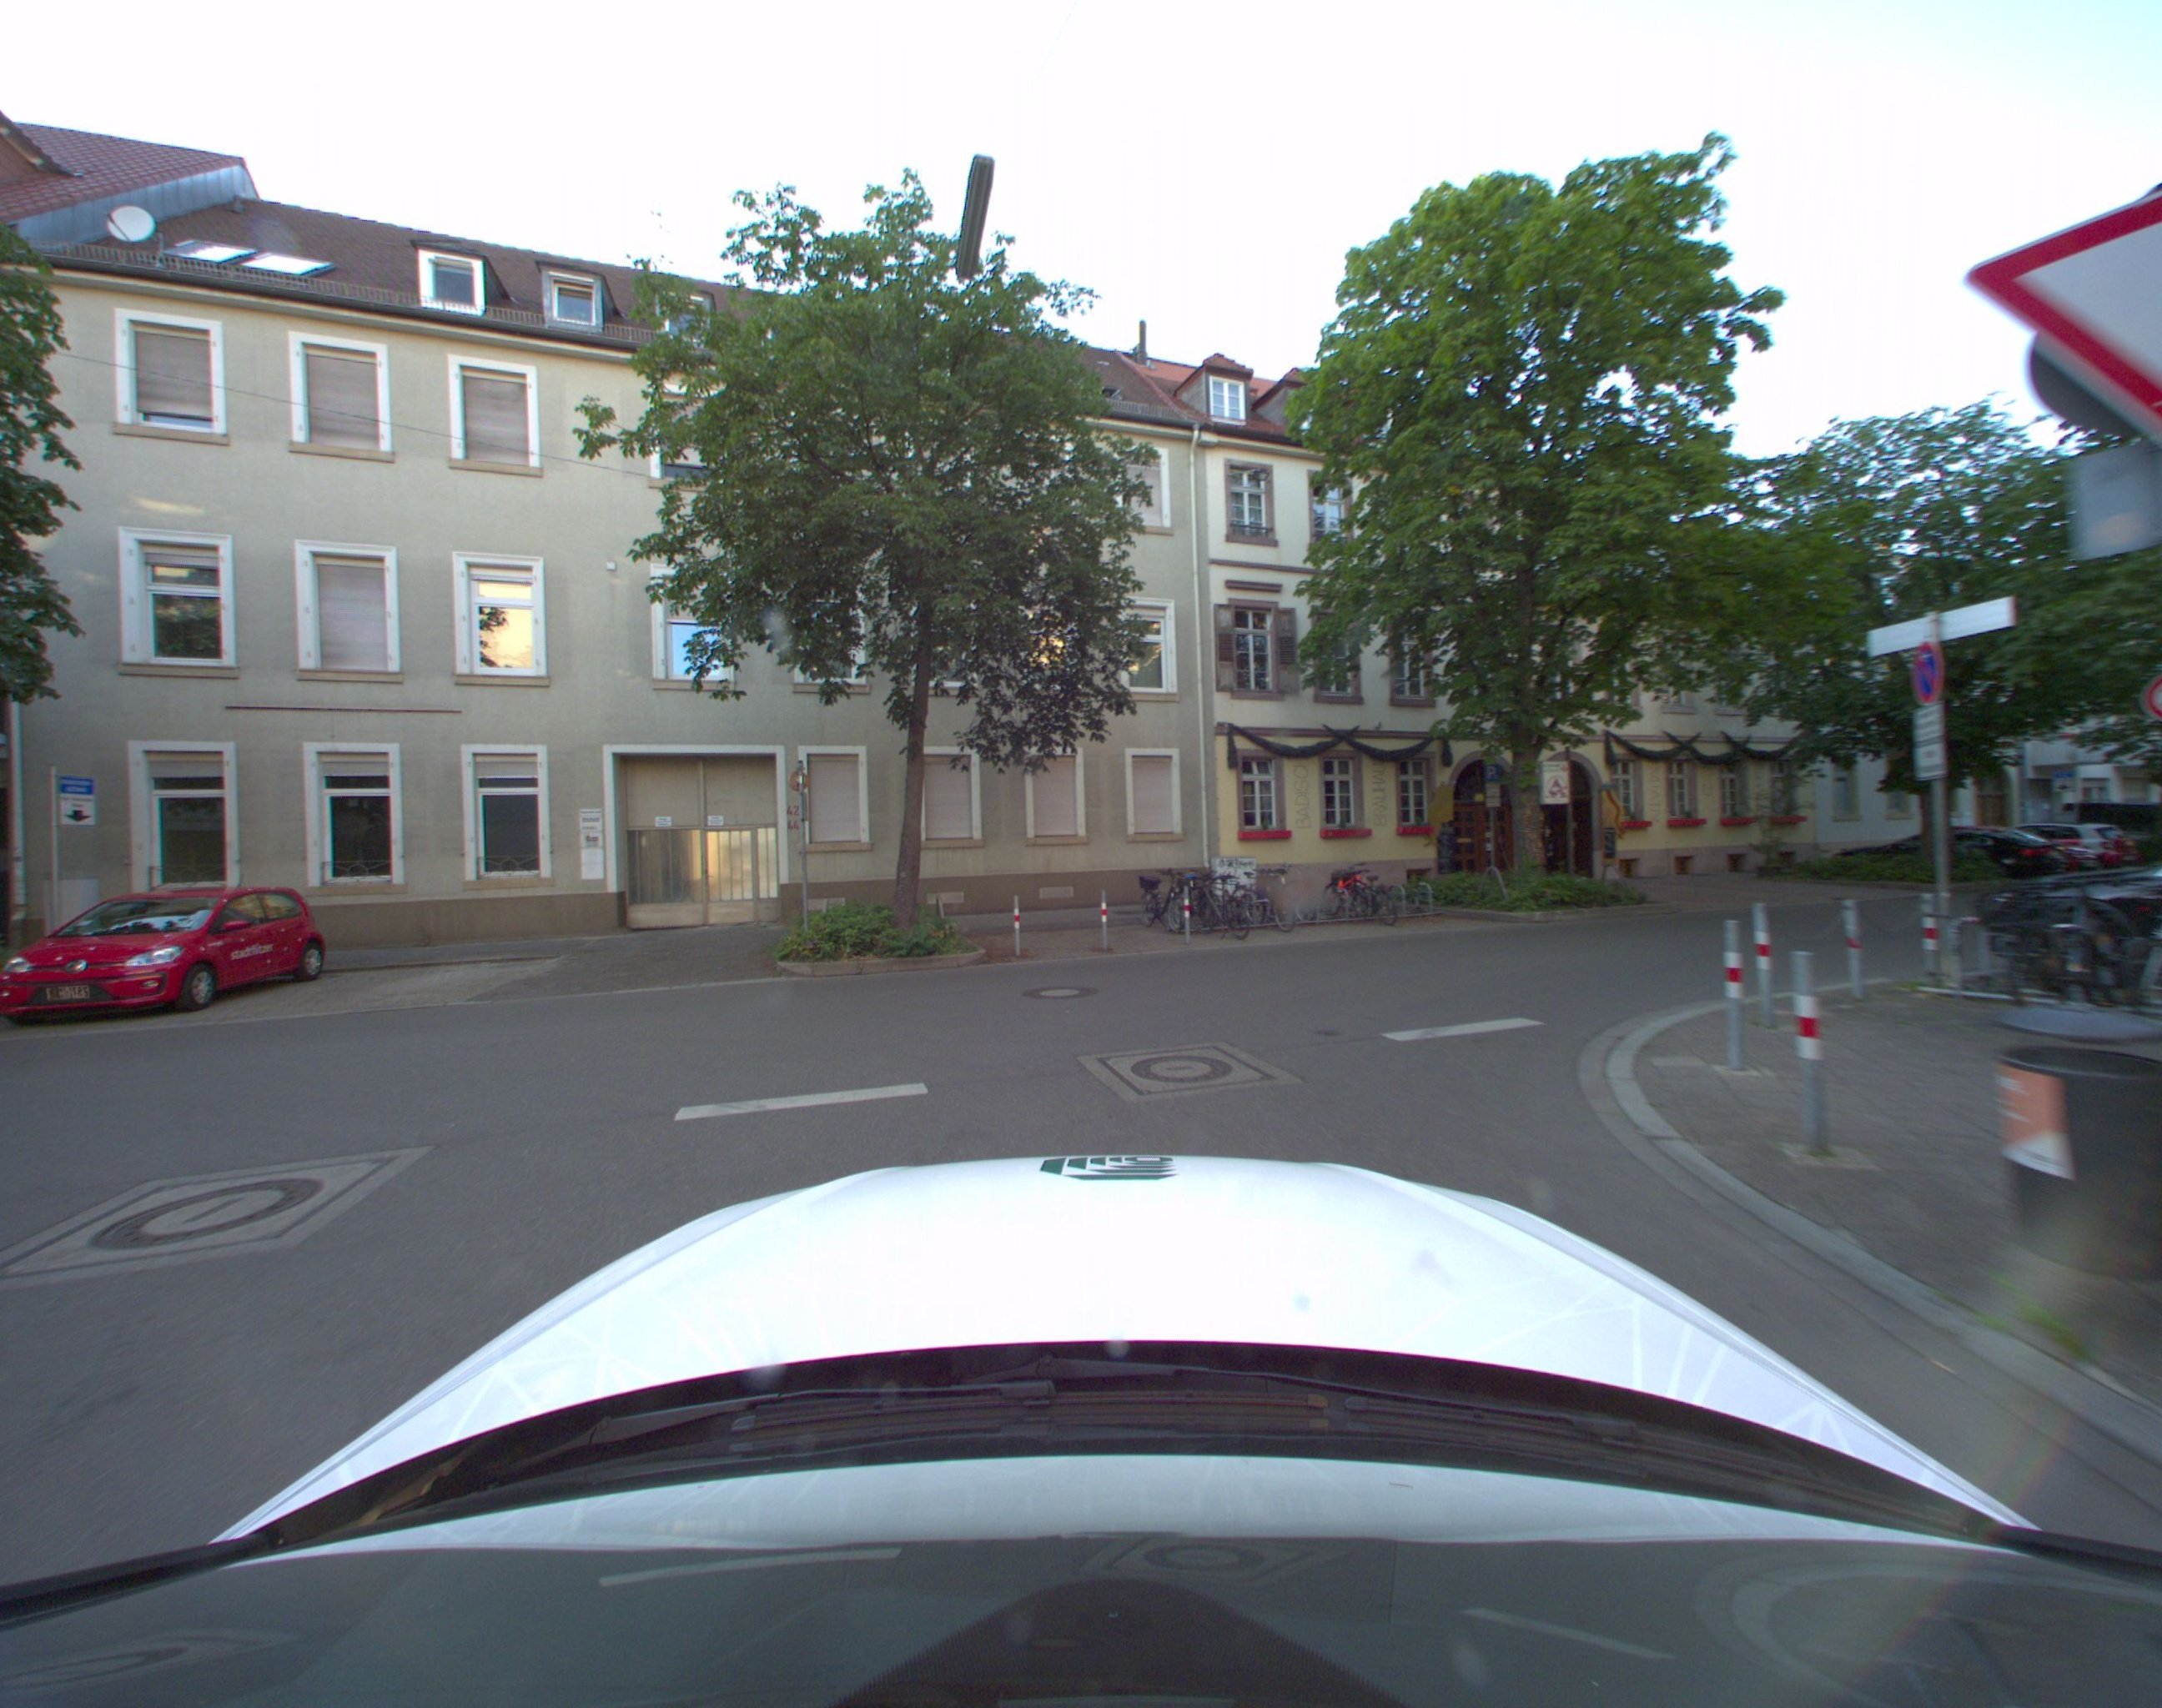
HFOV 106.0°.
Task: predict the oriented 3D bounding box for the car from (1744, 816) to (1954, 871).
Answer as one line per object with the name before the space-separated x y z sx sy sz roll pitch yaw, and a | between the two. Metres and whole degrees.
car | 23.526 -0.285 25.199 1.774 1.505 4.422 -2 0 -16

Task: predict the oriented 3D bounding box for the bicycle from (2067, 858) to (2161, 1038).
bicycle | 7.672 0.577 5.624 1.869 1.089 0.362 -3 -1 -17

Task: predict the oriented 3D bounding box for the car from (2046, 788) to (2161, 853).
car | 36.065 -1.124 27.323 1.774 2.123 4.422 -2 0 -16

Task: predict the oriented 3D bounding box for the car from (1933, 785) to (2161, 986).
car | 10.415 0.202 6.547 1.774 1.738 4.566 -3 -1 -16

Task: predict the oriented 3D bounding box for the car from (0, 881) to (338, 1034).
car | -11.870 1.202 10.811 1.565 1.475 3.644 -2 1 -19

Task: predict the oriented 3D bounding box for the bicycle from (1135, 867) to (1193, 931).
bicycle | 1.592 0.844 15.975 0.445 1.145 2.033 -2 0 -13

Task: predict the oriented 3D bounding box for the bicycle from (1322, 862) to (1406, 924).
bicycle | 5.607 0.736 16.245 0.421 1.145 2.030 -2 0 -18

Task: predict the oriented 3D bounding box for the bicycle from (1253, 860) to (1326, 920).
bicycle | 4.292 0.706 16.933 0.421 1.145 2.030 -2 0 -18

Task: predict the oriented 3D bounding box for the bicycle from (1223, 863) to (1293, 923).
bicycle | 3.597 0.763 16.740 0.421 1.145 2.030 -2 0 -18

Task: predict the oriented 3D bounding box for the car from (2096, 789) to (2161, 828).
car | 47.267 -2.007 34.884 1.774 1.613 4.422 -2 0 -16

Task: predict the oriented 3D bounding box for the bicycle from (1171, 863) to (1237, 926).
bicycle | 2.422 0.774 16.304 0.421 1.145 2.030 -2 0 -18

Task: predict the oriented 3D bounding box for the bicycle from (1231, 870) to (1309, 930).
bicycle | 3.523 0.831 15.333 0.421 1.004 2.030 -2 0 -18

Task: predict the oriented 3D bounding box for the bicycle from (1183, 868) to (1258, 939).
bicycle | 2.462 0.838 14.580 0.446 1.145 2.031 -2 0 -16

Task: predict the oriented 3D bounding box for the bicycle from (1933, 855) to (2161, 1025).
bicycle | 7.332 0.613 6.169 1.869 1.089 0.362 -3 -1 -17

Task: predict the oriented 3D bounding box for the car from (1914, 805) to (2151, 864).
car | 29.178 -0.546 25.209 1.774 1.613 4.422 -2 0 -16
